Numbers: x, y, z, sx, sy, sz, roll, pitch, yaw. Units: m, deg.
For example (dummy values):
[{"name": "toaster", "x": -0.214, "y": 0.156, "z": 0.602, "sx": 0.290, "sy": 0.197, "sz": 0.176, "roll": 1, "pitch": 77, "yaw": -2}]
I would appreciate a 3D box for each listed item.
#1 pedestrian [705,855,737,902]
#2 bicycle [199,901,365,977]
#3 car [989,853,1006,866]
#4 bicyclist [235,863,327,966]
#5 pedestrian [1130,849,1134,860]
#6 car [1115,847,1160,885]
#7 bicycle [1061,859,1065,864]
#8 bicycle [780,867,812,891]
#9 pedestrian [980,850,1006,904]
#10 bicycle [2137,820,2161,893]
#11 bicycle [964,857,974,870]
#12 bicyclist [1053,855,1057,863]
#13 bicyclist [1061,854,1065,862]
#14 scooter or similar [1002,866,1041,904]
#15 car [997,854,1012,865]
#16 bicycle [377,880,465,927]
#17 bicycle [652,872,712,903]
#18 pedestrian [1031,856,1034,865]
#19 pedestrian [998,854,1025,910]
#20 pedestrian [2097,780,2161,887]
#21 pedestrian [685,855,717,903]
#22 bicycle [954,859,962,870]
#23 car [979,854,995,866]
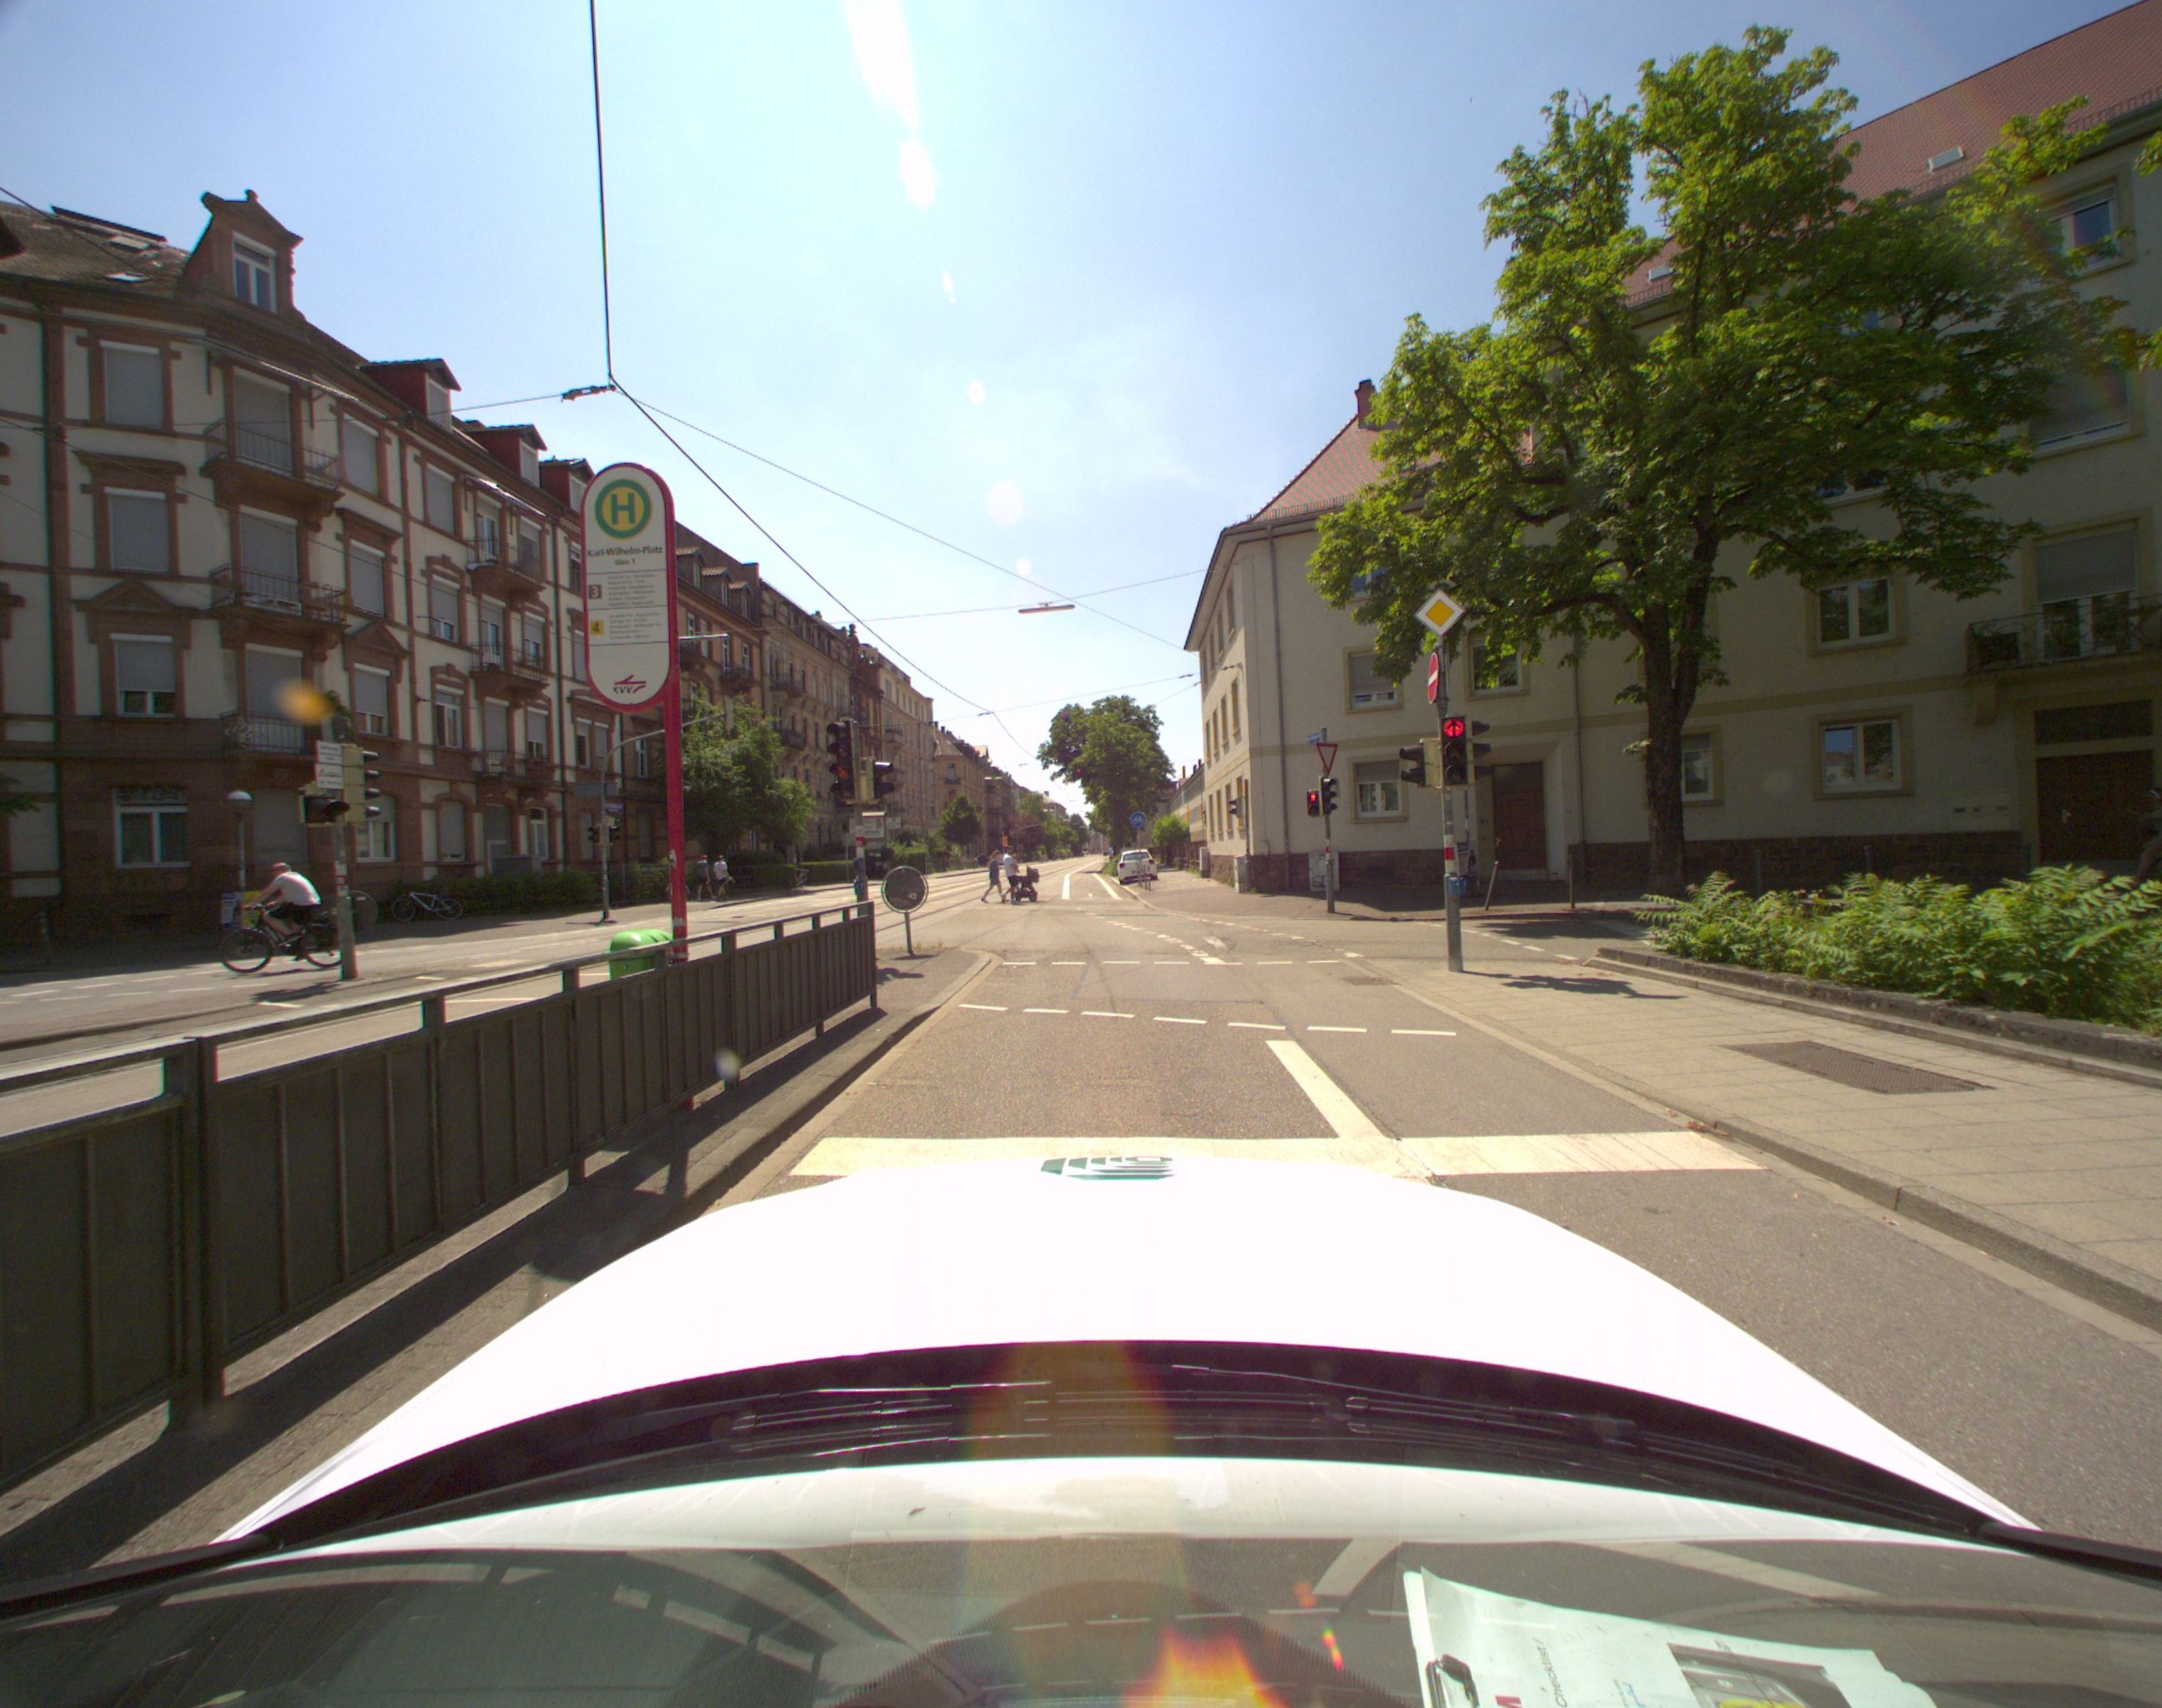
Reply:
[{"name": "pedestrian", "x": -14.200, "y": 0.957, "z": 32.126, "sx": 0.813, "sy": 1.822, "sz": 0.874, "roll": 0, "pitch": 1, "yaw": 2}, {"name": "bicycle", "x": -12.953, "y": 1.351, "z": 13.272, "sx": 1.769, "sy": 1.056, "sz": 0.694, "roll": -1, "pitch": -1, "yaw": -25}, {"name": "car", "x": -11.876, "y": 0.807, "z": 116.068, "sx": 1.912, "sy": 1.715, "sz": 4.001, "roll": 0, "pitch": -1, "yaw": 2}, {"name": "bicyclist", "x": -12.993, "y": 0.952, "z": 13.252, "sx": 0.851, "sy": 1.592, "sz": 0.694, "roll": -1, "pitch": -1, "yaw": -24}, {"name": "pedestrian", "x": 7.521, "y": 0.080, "z": 120.856, "sx": 0.519, "sy": 1.562, "sz": 0.573, "roll": -2, "pitch": 0, "yaw": 1}, {"name": "car", "x": 2.528, "y": 0.532, "z": 37.421, "sx": 1.808, "sy": 1.516, "sz": 4.001, "roll": -4, "pitch": -1, "yaw": 2}, {"name": "bicycle", "x": -3.976, "y": 1.573, "z": 180.383, "sx": 0.724, "sy": 1.123, "sz": 2.087, "roll": 0, "pitch": -1, "yaw": 4}, {"name": "bicycle", "x": -14.403, "y": 1.255, "z": 41.258, "sx": 0.936, "sy": 1.136, "sz": 2.767, "roll": 0, "pitch": -1, "yaw": -7}, {"name": "pedestrian", "x": -2.719, "y": 0.708, "z": 25.188, "sx": 0.671, "sy": 1.645, "sz": 0.560, "roll": -1, "pitch": -1, "yaw": 8}, {"name": "bicycle", "x": 17.012, "y": 0.023, "z": 12.086, "sx": 0.527, "sy": 1.104, "sz": 1.589, "roll": -2, "pitch": 0, "yaw": -34}, {"name": "bicycle", "x": -11.706, "y": 0.955, "z": 85.139, "sx": 0.675, "sy": 1.278, "sz": 1.918, "roll": -2, "pitch": 0, "yaw": -1}, {"name": "bicyclist", "x": -5.011, "y": 0.925, "z": 156.352, "sx": 0.724, "sy": 1.629, "sz": 1.080, "roll": 0, "pitch": -1, "yaw": 3}, {"name": "bicyclist", "x": -3.962, "y": 0.917, "z": 180.480, "sx": 0.724, "sy": 1.768, "sz": 1.080, "roll": 0, "pitch": -1, "yaw": 3}, {"name": "scooter or similar", "x": -1.853, "y": 0.947, "z": 25.383, "sx": 1.200, "sy": 1.155, "sz": 0.557, "roll": 0, "pitch": -1, "yaw": -7}, {"name": "car", "x": -11.656, "y": 0.871, "z": 124.332, "sx": 1.912, "sy": 1.715, "sz": 4.001, "roll": 0, "pitch": -1, "yaw": 2}, {"name": "bicycle", "x": -19.552, "y": 1.439, "z": 24.163, "sx": 0.557, "sy": 1.294, "sz": 1.975, "roll": -1, "pitch": -1, "yaw": 43}, {"name": "bicycle", "x": -15.667, "y": 1.301, "z": 32.085, "sx": 0.934, "sy": 1.136, "sz": 2.774, "roll": 0, "pitch": -1, "yaw": 1}, {"name": "pedestrian", "x": -8.341, "y": 1.076, "z": 140.820, "sx": 0.404, "sy": 1.461, "sz": 0.436, "roll": -2, "pitch": 0, "yaw": 1}, {"name": "pedestrian", "x": -2.062, "y": 0.825, "z": 24.236, "sx": 0.671, "sy": 1.645, "sz": 0.560, "roll": -1, "pitch": -1, "yaw": 8}, {"name": "pedestrian", "x": 17.899, "y": -0.353, "z": 13.575, "sx": 1.044, "sy": 1.690, "sz": 0.657, "roll": -5, "pitch": 4, "yaw": 45}, {"name": "pedestrian", "x": -14.974, "y": 0.967, "z": 32.098, "sx": 0.813, "sy": 1.822, "sz": 0.874, "roll": 0, "pitch": 1, "yaw": 2}, {"name": "bicycle", "x": -12.150, "y": 1.028, "z": 80.502, "sx": 0.677, "sy": 1.064, "sz": 1.912, "roll": -2, "pitch": 0, "yaw": -9}, {"name": "car", "x": -14.328, "y": 0.892, "z": 124.470, "sx": 1.912, "sy": 1.715, "sz": 4.001, "roll": 0, "pitch": -1, "yaw": 2}]
